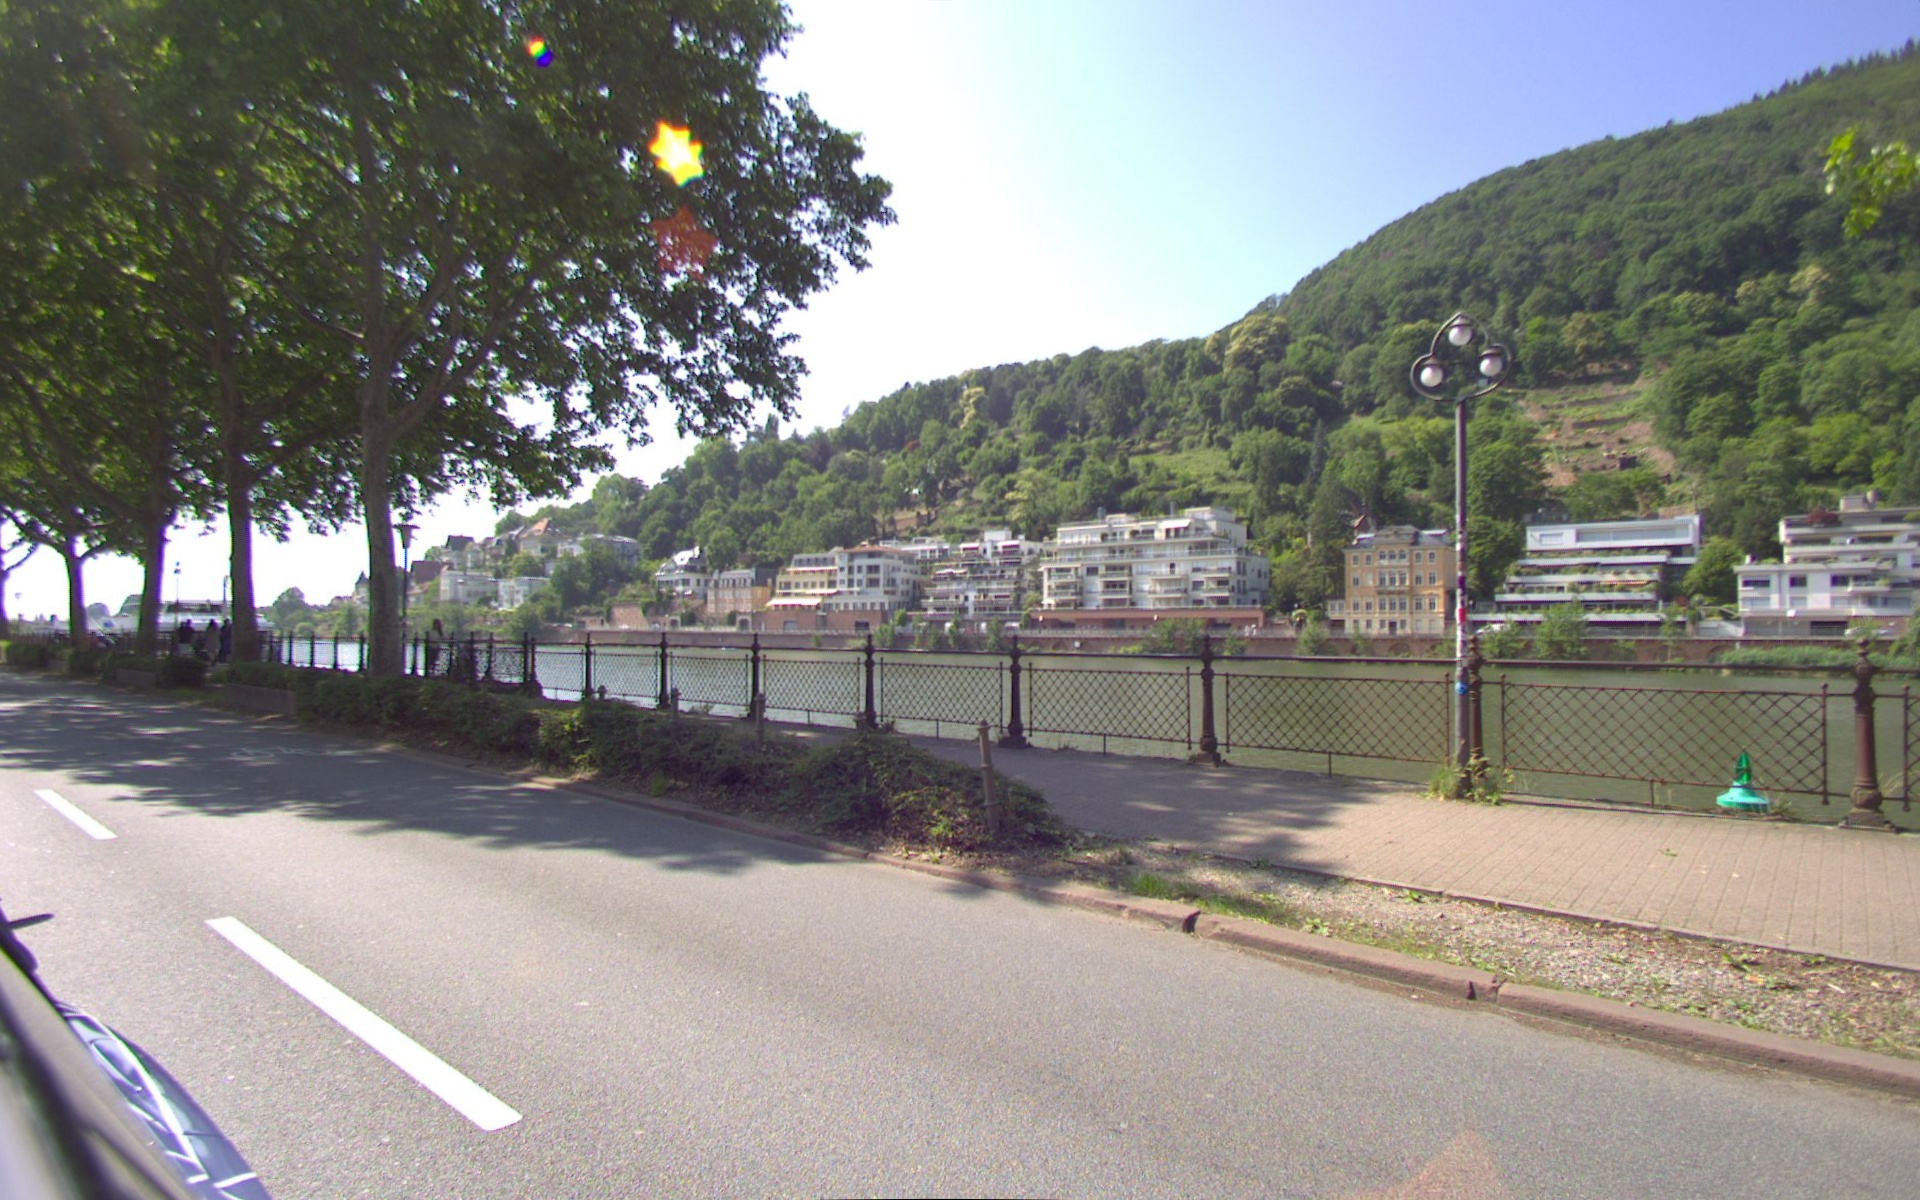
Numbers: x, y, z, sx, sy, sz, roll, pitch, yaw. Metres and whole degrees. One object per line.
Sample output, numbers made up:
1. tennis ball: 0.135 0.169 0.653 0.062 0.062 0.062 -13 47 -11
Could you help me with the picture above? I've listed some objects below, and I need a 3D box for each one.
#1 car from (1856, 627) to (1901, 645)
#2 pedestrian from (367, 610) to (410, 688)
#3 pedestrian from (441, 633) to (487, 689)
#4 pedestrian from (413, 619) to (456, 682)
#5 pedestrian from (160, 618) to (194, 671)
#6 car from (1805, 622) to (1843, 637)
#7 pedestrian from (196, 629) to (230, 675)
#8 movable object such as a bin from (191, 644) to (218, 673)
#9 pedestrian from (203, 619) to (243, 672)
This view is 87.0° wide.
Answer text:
1. car: 111.149 4.293 122.522 3.998 2.029 1.973 -1 0 41
2. pedestrian: -14.325 1.218 25.365 0.756 1.915 0.771 3 -4 -42
3. pedestrian: -12.639 1.550 25.783 0.770 1.398 0.758 -2 -3 40
4. pedestrian: -15.032 1.433 28.934 0.829 1.771 0.767 -2 -4 40
5. pedestrian: -28.309 1.583 36.596 0.928 1.863 0.796 -1 0 41
6. car: 125.842 4.312 147.433 3.998 2.029 1.973 -4 -2 41
7. pedestrian: -27.676 1.905 37.497 0.885 1.647 1.060 0 0 -44
8. movable object such as a bin: -28.505 2.193 38.165 0.783 1.057 0.694 -1 0 44
9. pedestrian: -29.323 1.804 40.280 1.032 2.029 1.038 -1 0 -19
